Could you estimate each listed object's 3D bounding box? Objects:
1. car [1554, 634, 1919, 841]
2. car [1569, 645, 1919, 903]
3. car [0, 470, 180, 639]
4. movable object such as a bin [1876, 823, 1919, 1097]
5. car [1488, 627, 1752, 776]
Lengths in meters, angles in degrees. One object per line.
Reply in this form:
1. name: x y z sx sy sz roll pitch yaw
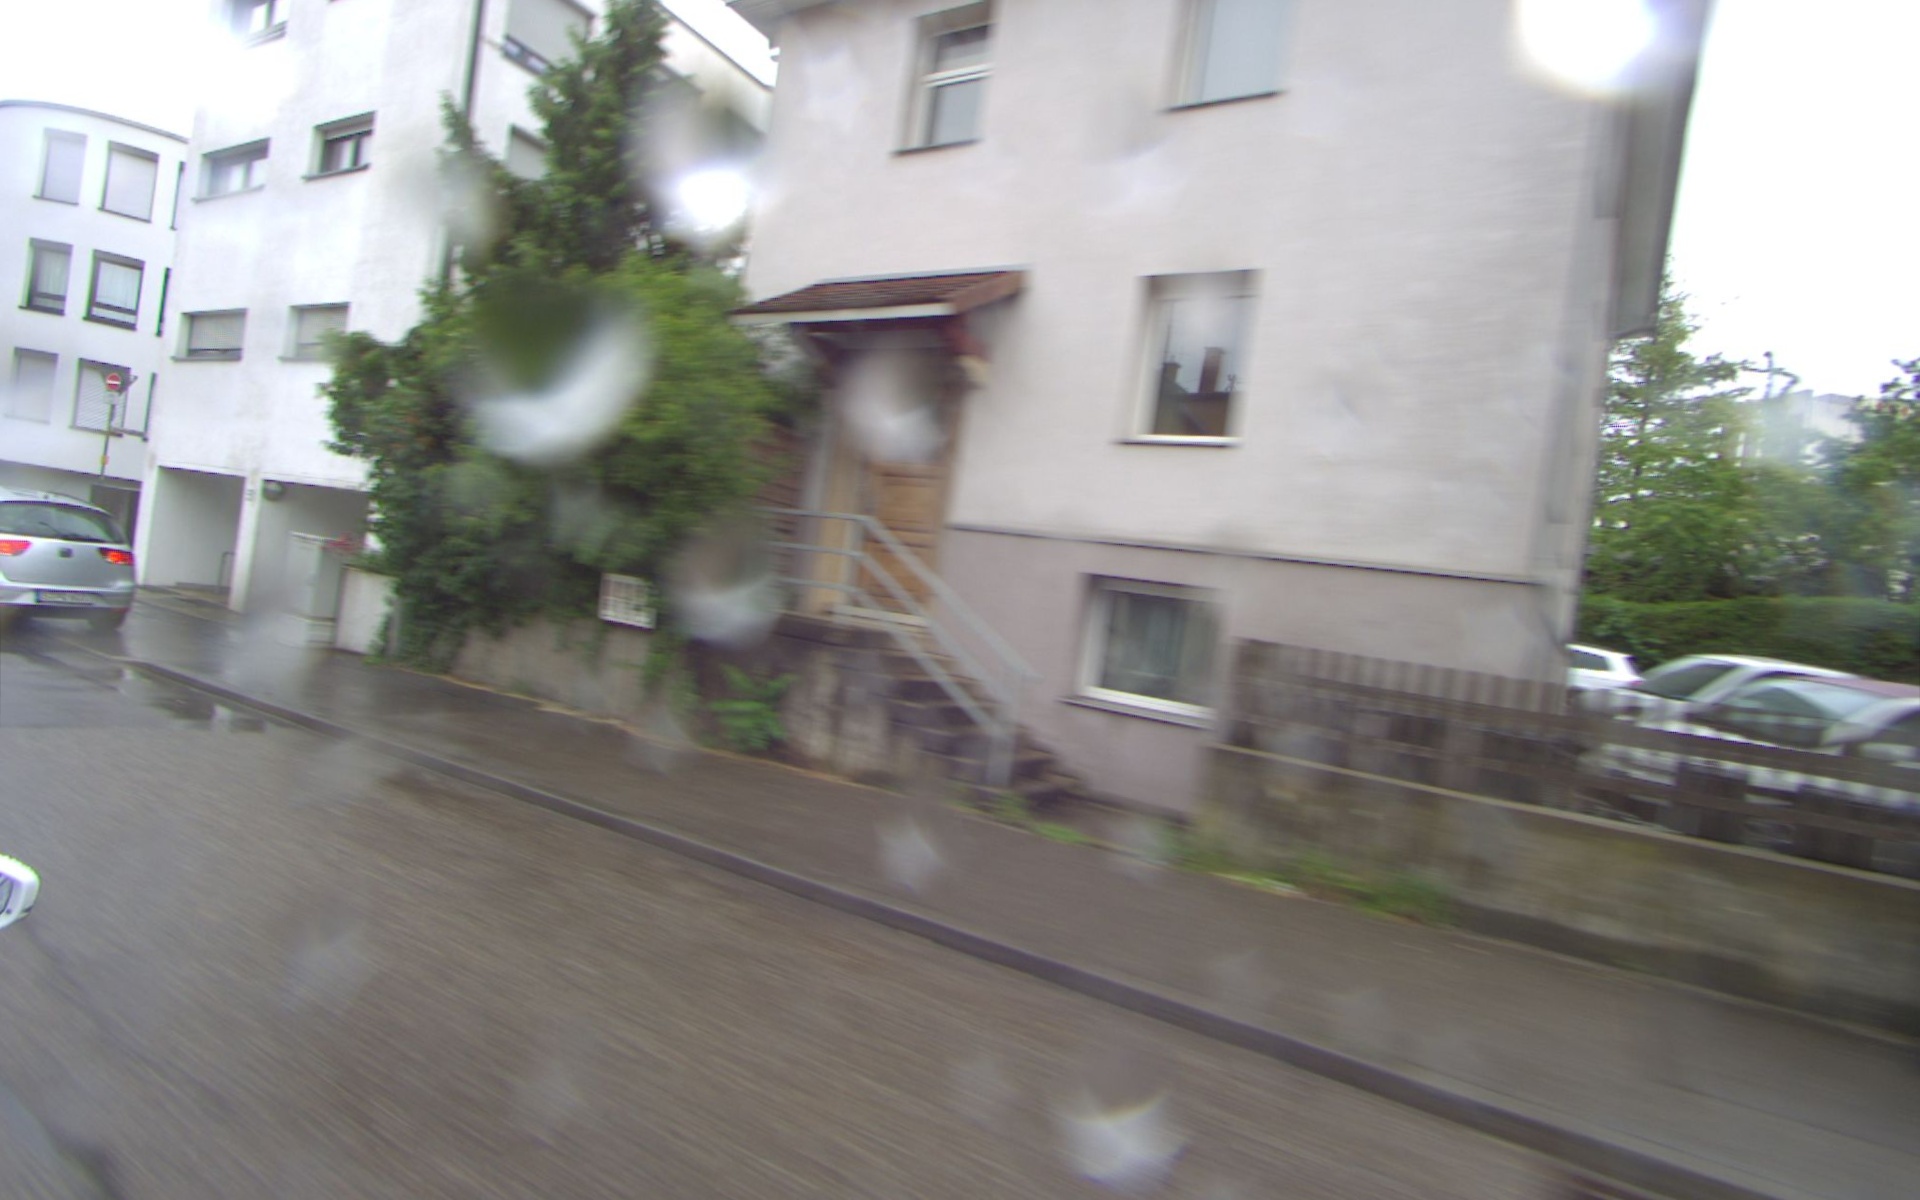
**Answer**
1. car: 7.911 1.323 10.238 2.758 1.565 1.316 7 3 8
2. car: 6.726 1.329 7.627 3.280 1.522 1.353 6 2 -4
3. car: -11.473 -0.613 11.851 4.287 1.640 2.016 5 -2 30
4. movable object such as a bin: 4.471 1.574 4.137 0.816 1.062 0.576 9 2 32
5. car: 11.465 1.705 17.743 3.557 2.038 1.743 6 0 32
